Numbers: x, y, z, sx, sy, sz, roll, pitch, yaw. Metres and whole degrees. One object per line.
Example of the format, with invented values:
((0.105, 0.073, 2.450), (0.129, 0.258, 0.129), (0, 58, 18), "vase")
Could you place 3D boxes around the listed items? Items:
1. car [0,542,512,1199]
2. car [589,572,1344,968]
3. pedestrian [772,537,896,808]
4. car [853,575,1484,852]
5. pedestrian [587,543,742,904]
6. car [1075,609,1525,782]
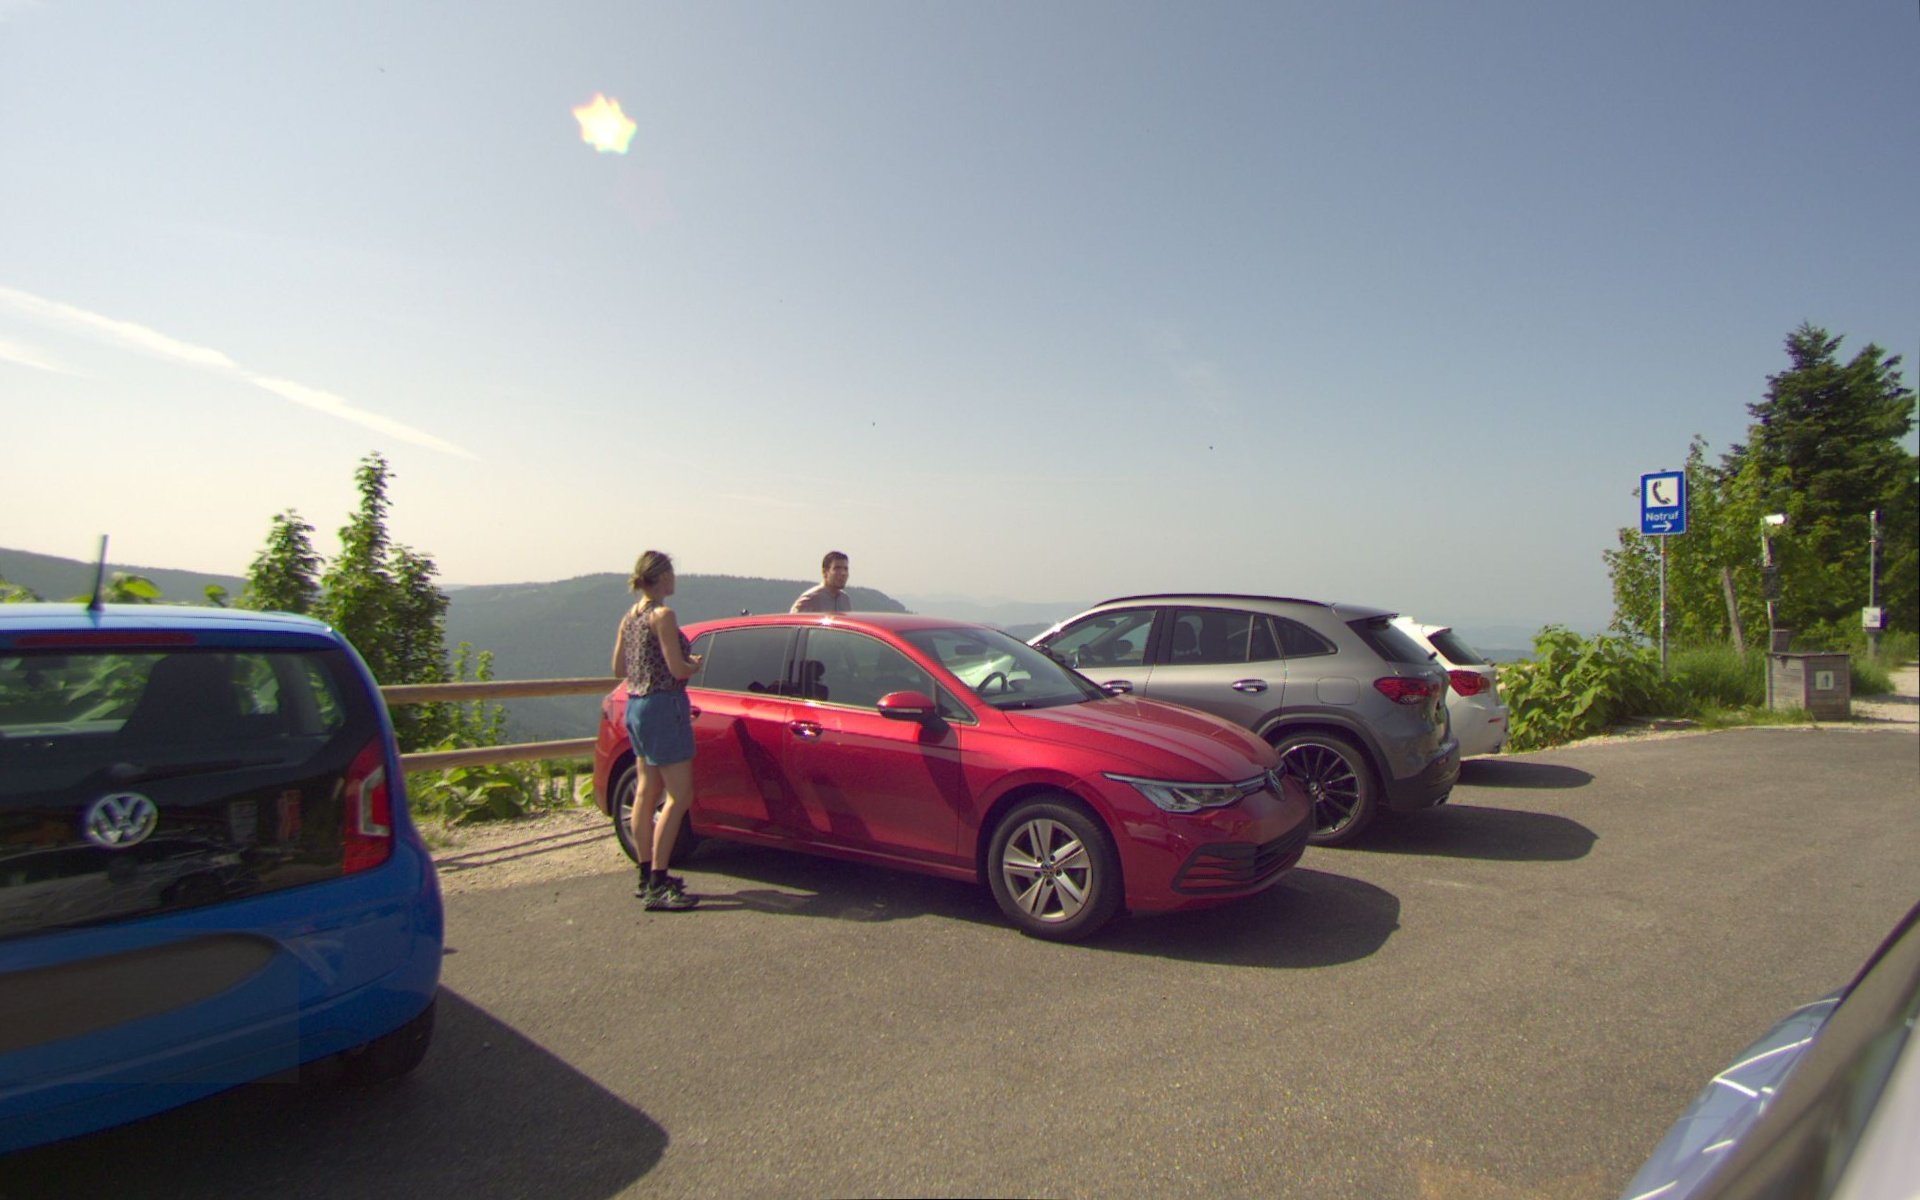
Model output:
((-3.123, 0.687, 3.483), (3.578, 1.515, 1.622), (-2, -2, 43), "car")
((-0.080, 0.699, 5.775), (3.969, 1.529, 1.821), (-1, -1, 32), "car")
((-0.951, 0.515, 7.651), (0.607, 1.924, 0.669), (-2, -1, 40), "pedestrian")
((1.493, 0.697, 7.767), (4.375, 1.588, 1.886), (-1, -1, 31), "car")
((-1.531, 0.602, 5.274), (0.500, 1.747, 0.561), (-2, -1, 29), "pedestrian")
((3.289, 0.829, 10.046), (3.969, 1.403, 1.638), (-1, -1, 32), "car")
